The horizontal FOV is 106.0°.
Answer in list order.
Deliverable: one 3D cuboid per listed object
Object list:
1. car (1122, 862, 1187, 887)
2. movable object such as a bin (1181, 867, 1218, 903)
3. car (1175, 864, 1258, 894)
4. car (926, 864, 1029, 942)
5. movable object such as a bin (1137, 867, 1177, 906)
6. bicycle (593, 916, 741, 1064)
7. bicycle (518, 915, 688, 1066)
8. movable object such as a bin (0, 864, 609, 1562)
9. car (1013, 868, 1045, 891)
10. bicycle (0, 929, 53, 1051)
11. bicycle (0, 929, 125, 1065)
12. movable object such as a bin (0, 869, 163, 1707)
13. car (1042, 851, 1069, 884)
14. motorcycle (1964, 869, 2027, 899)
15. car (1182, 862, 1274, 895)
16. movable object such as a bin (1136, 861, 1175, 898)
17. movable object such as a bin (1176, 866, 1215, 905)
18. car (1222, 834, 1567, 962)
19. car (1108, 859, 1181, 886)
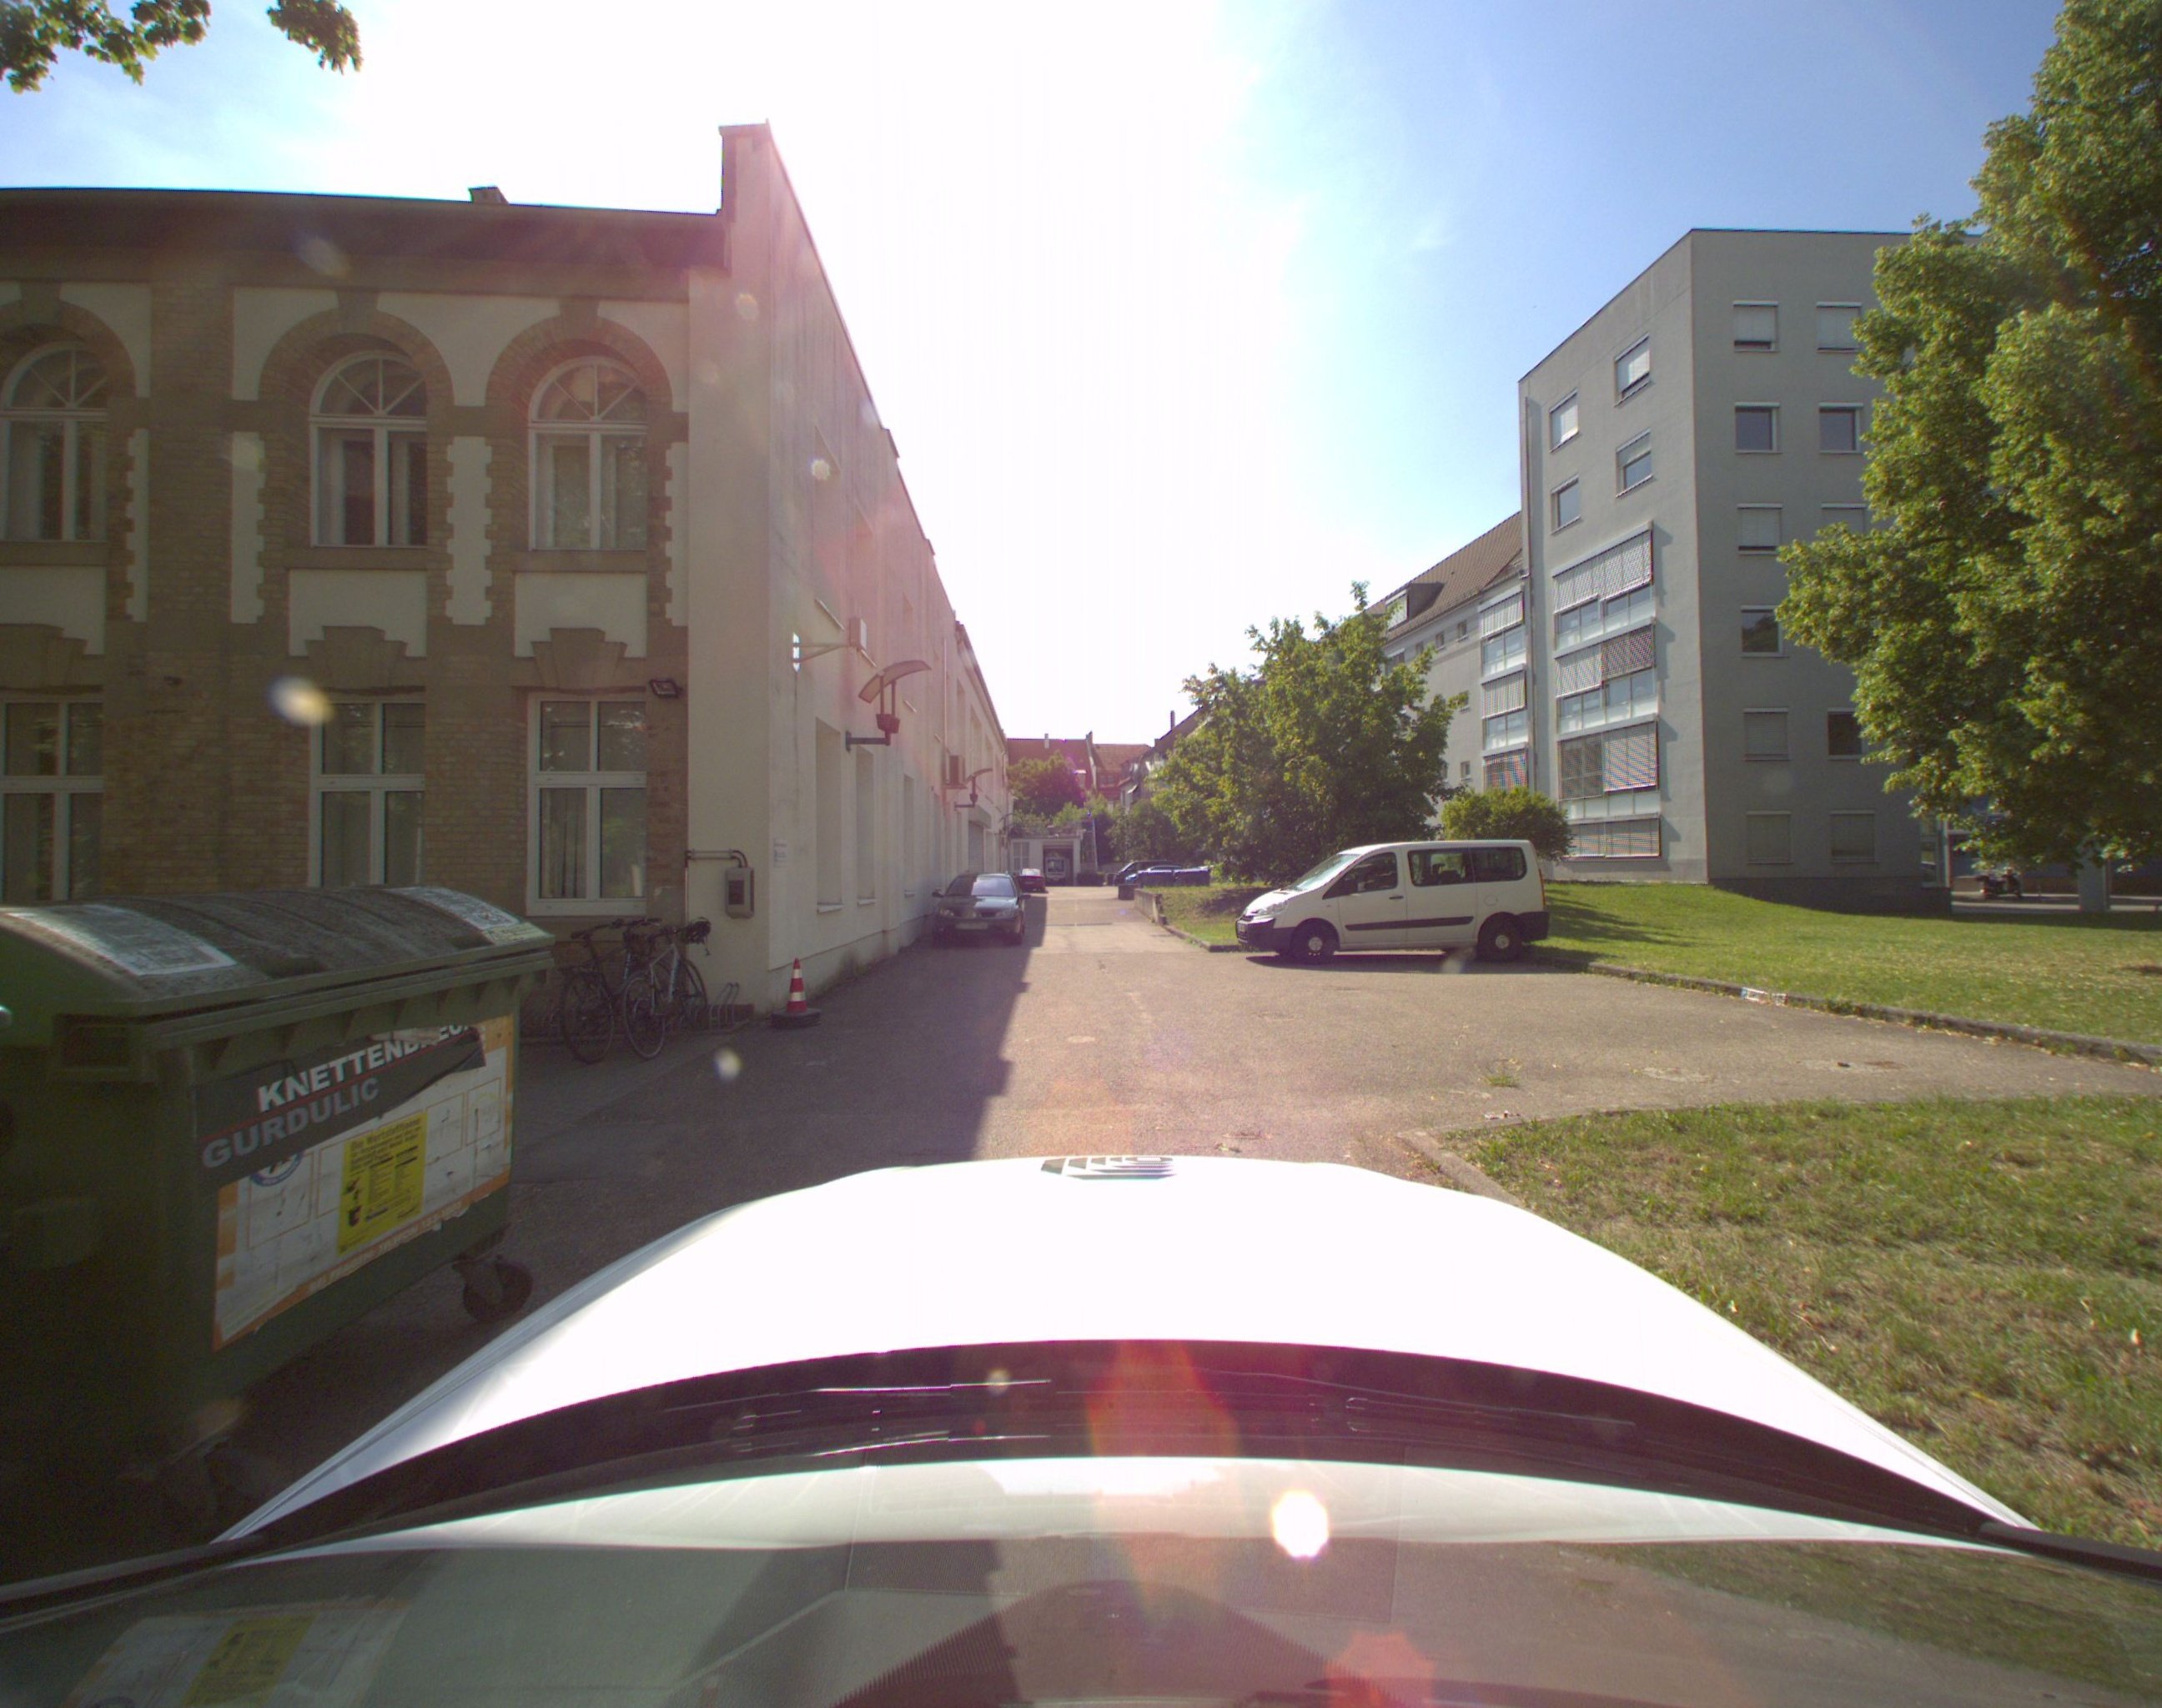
[{"bbox_3d":[5.075,1.400,56.604,4.223,1.532,1.996,-2,0,-6],"label":"car"},{"bbox_3d":[4.469,1.154,30.833,1.153,1.336,1.140,-1,-1,-6],"label":"movable object such as a bin"},{"bbox_3d":[6.955,1.273,42.111,3.978,1.394,1.687,-1,-1,-3],"label":"car"},{"bbox_3d":[-2.076,1.018,17.547,1.832,1.442,4.424,1,-2,-3],"label":"car"},{"bbox_3d":[2.711,1.164,29.087,1.243,1.319,1.142,-3,-2,-1],"label":"movable object such as a bin"},{"bbox_3d":[-3.476,1.092,6.971,0.443,0.992,1.541,-2,0,0],"label":"bicycle"},{"bbox_3d":[-3.958,1.078,6.891,0.443,0.992,1.630,-2,0,0],"label":"bicycle"},{"bbox_3d":[-2.373,0.755,2.359,1.241,1.431,1.348,-1,-1,-3],"label":"movable object such as a bin"},{"bbox_3d":[-3.111,1.496,49.190,1.848,1.319,3.995,1,-1,-3],"label":"car"},{"bbox_3d":[-9.379,1.174,6.469,0.443,0.992,1.541,-2,0,0],"label":"bicycle"},{"bbox_3d":[-8.781,1.175,6.502,0.443,0.992,1.541,-2,0,0],"label":"bicycle"},{"bbox_3d":[-2.360,0.746,0.848,1.241,1.431,1.364,-1,-1,-3],"label":"movable object such as a bin"},{"bbox_3d":[-2.161,1.166,69.077,2.168,2.607,6.728,-2,-1,-2],"label":"car"},{"bbox_3d":[39.668,1.306,35.334,2.050,1.246,0.630,-1,-1,-2],"label":"motorcycle"},{"bbox_3d":[6.954,1.151,38.717,3.981,1.427,1.808,-1,-1,-6],"label":"car"},{"bbox_3d":[2.808,0.944,30.890,1.245,1.355,1.126,-1,-1,-6],"label":"movable object such as a bin"},{"bbox_3d":[4.090,1.129,29.206,1.243,1.340,1.142,-1,-1,0],"label":"movable object such as a bin"},{"bbox_3d":[5.047,0.682,13.626,5.010,1.933,1.999,-1,-1,-2],"label":"car"},{"bbox_3d":[4.667,1.341,59.839,4.960,1.767,2.086,-2,0,-15],"label":"car"}]
